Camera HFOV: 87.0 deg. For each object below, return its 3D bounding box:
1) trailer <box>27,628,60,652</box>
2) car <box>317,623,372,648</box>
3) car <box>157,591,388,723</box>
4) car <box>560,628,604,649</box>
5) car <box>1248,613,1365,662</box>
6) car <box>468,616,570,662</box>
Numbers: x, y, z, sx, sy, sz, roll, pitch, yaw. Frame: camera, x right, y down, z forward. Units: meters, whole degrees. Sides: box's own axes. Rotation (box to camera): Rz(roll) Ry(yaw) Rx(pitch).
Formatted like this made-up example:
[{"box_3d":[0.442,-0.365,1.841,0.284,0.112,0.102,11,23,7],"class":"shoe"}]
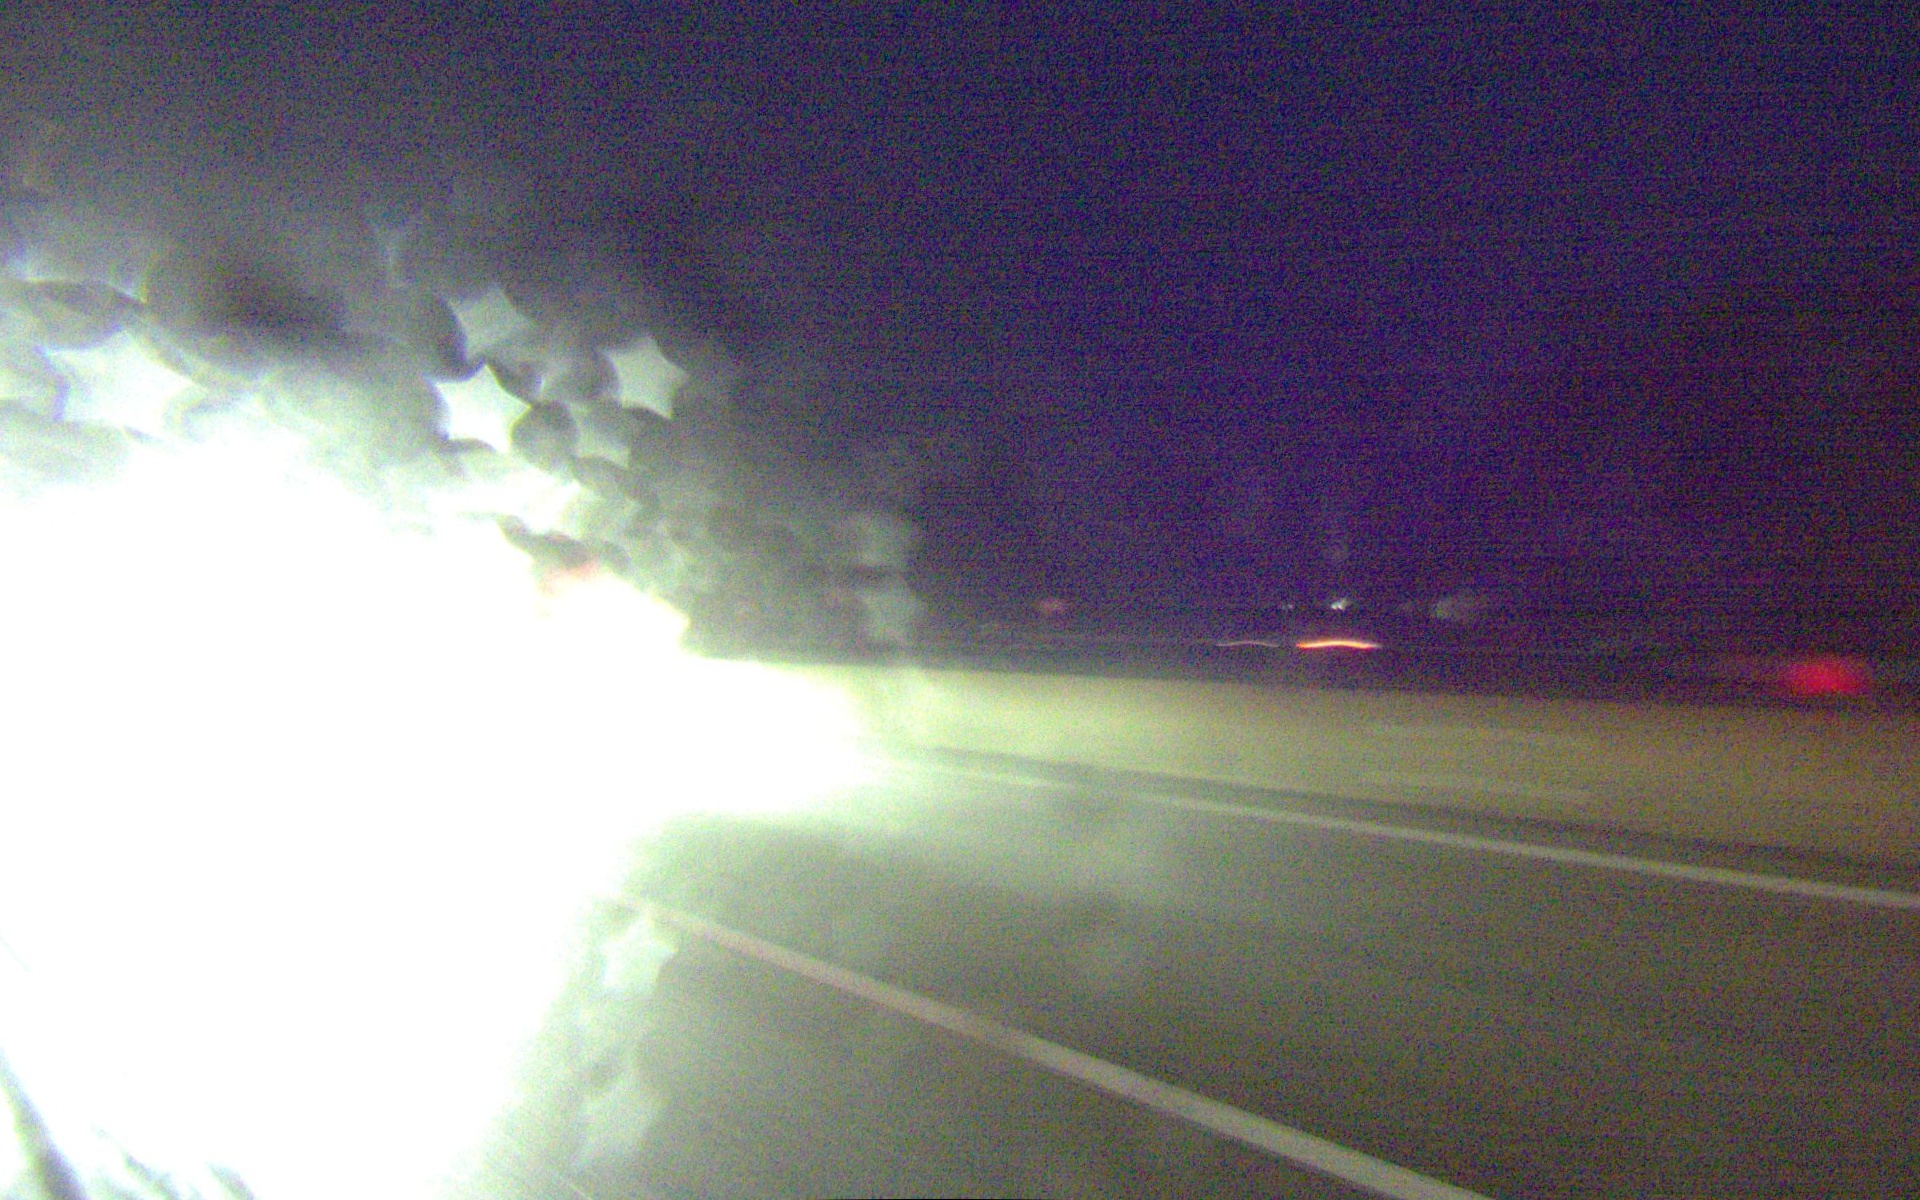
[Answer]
[{"box_3d":[-162.794,7.032,179.665,13.928,4.029,2.782,0,-3,42],"class":"trailer"},{"box_3d":[-39.396,2.245,64.746,4.291,1.471,1.819,-1,-3,42],"class":"car"},{"box_3d":[-11.884,0.859,17.299,5.556,1.899,2.113,-1,-1,43],"class":"car"},{"box_3d":[-33.201,3.377,88.750,1.970,1.785,4.573,0,-2,-43],"class":"car"},{"box_3d":[12.513,1.330,36.670,1.694,1.668,3.667,4,-3,-42],"class":"car"},{"box_3d":[-16.778,1.455,38.369,4.889,1.609,1.649,0,-3,42],"class":"car"}]
